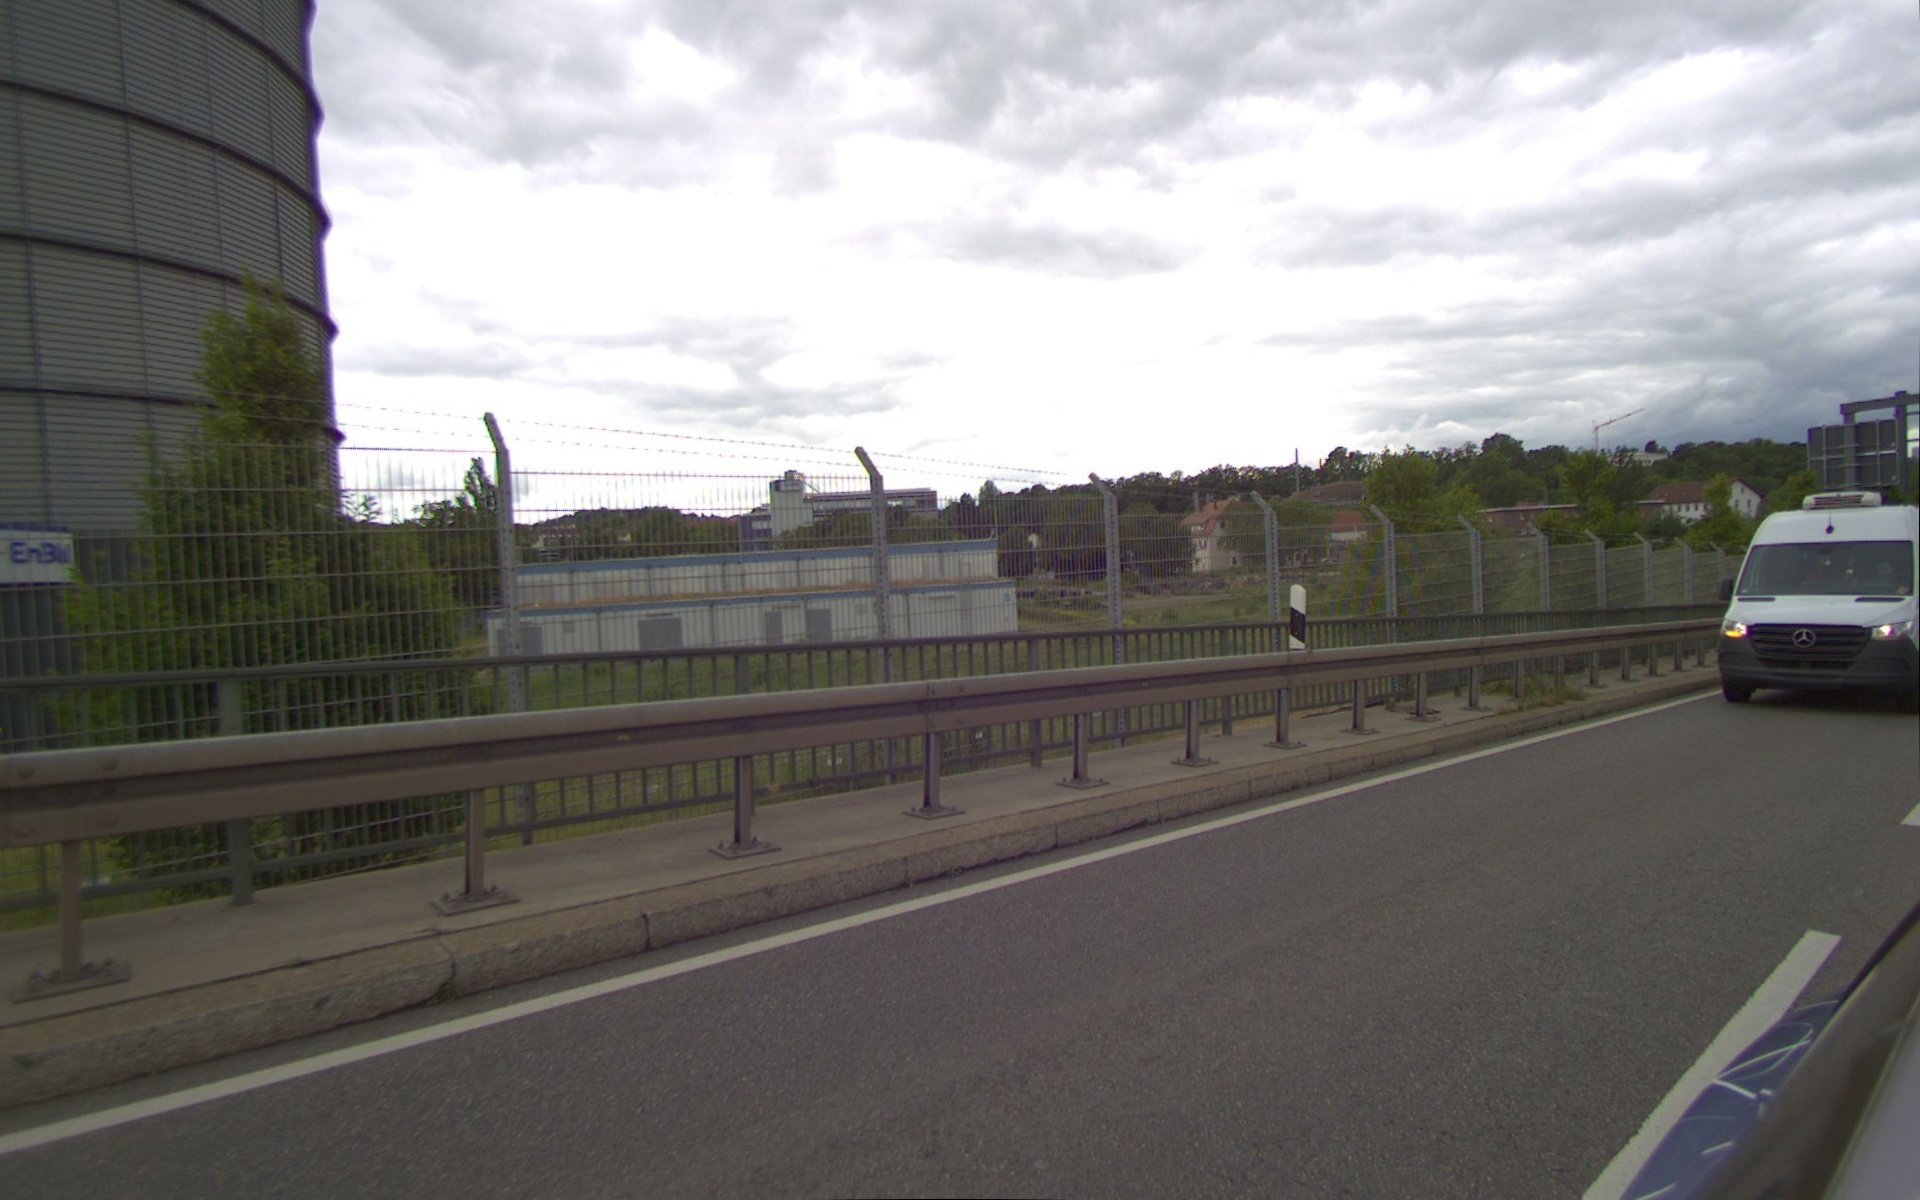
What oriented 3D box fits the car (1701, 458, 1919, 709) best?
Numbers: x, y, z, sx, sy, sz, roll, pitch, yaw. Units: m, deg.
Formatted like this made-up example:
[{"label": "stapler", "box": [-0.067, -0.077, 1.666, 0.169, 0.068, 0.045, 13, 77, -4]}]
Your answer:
[{"label": "car", "box": [12.751, -0.264, 14.307, 6.660, 2.818, 2.115, -2, 1, -40]}]
